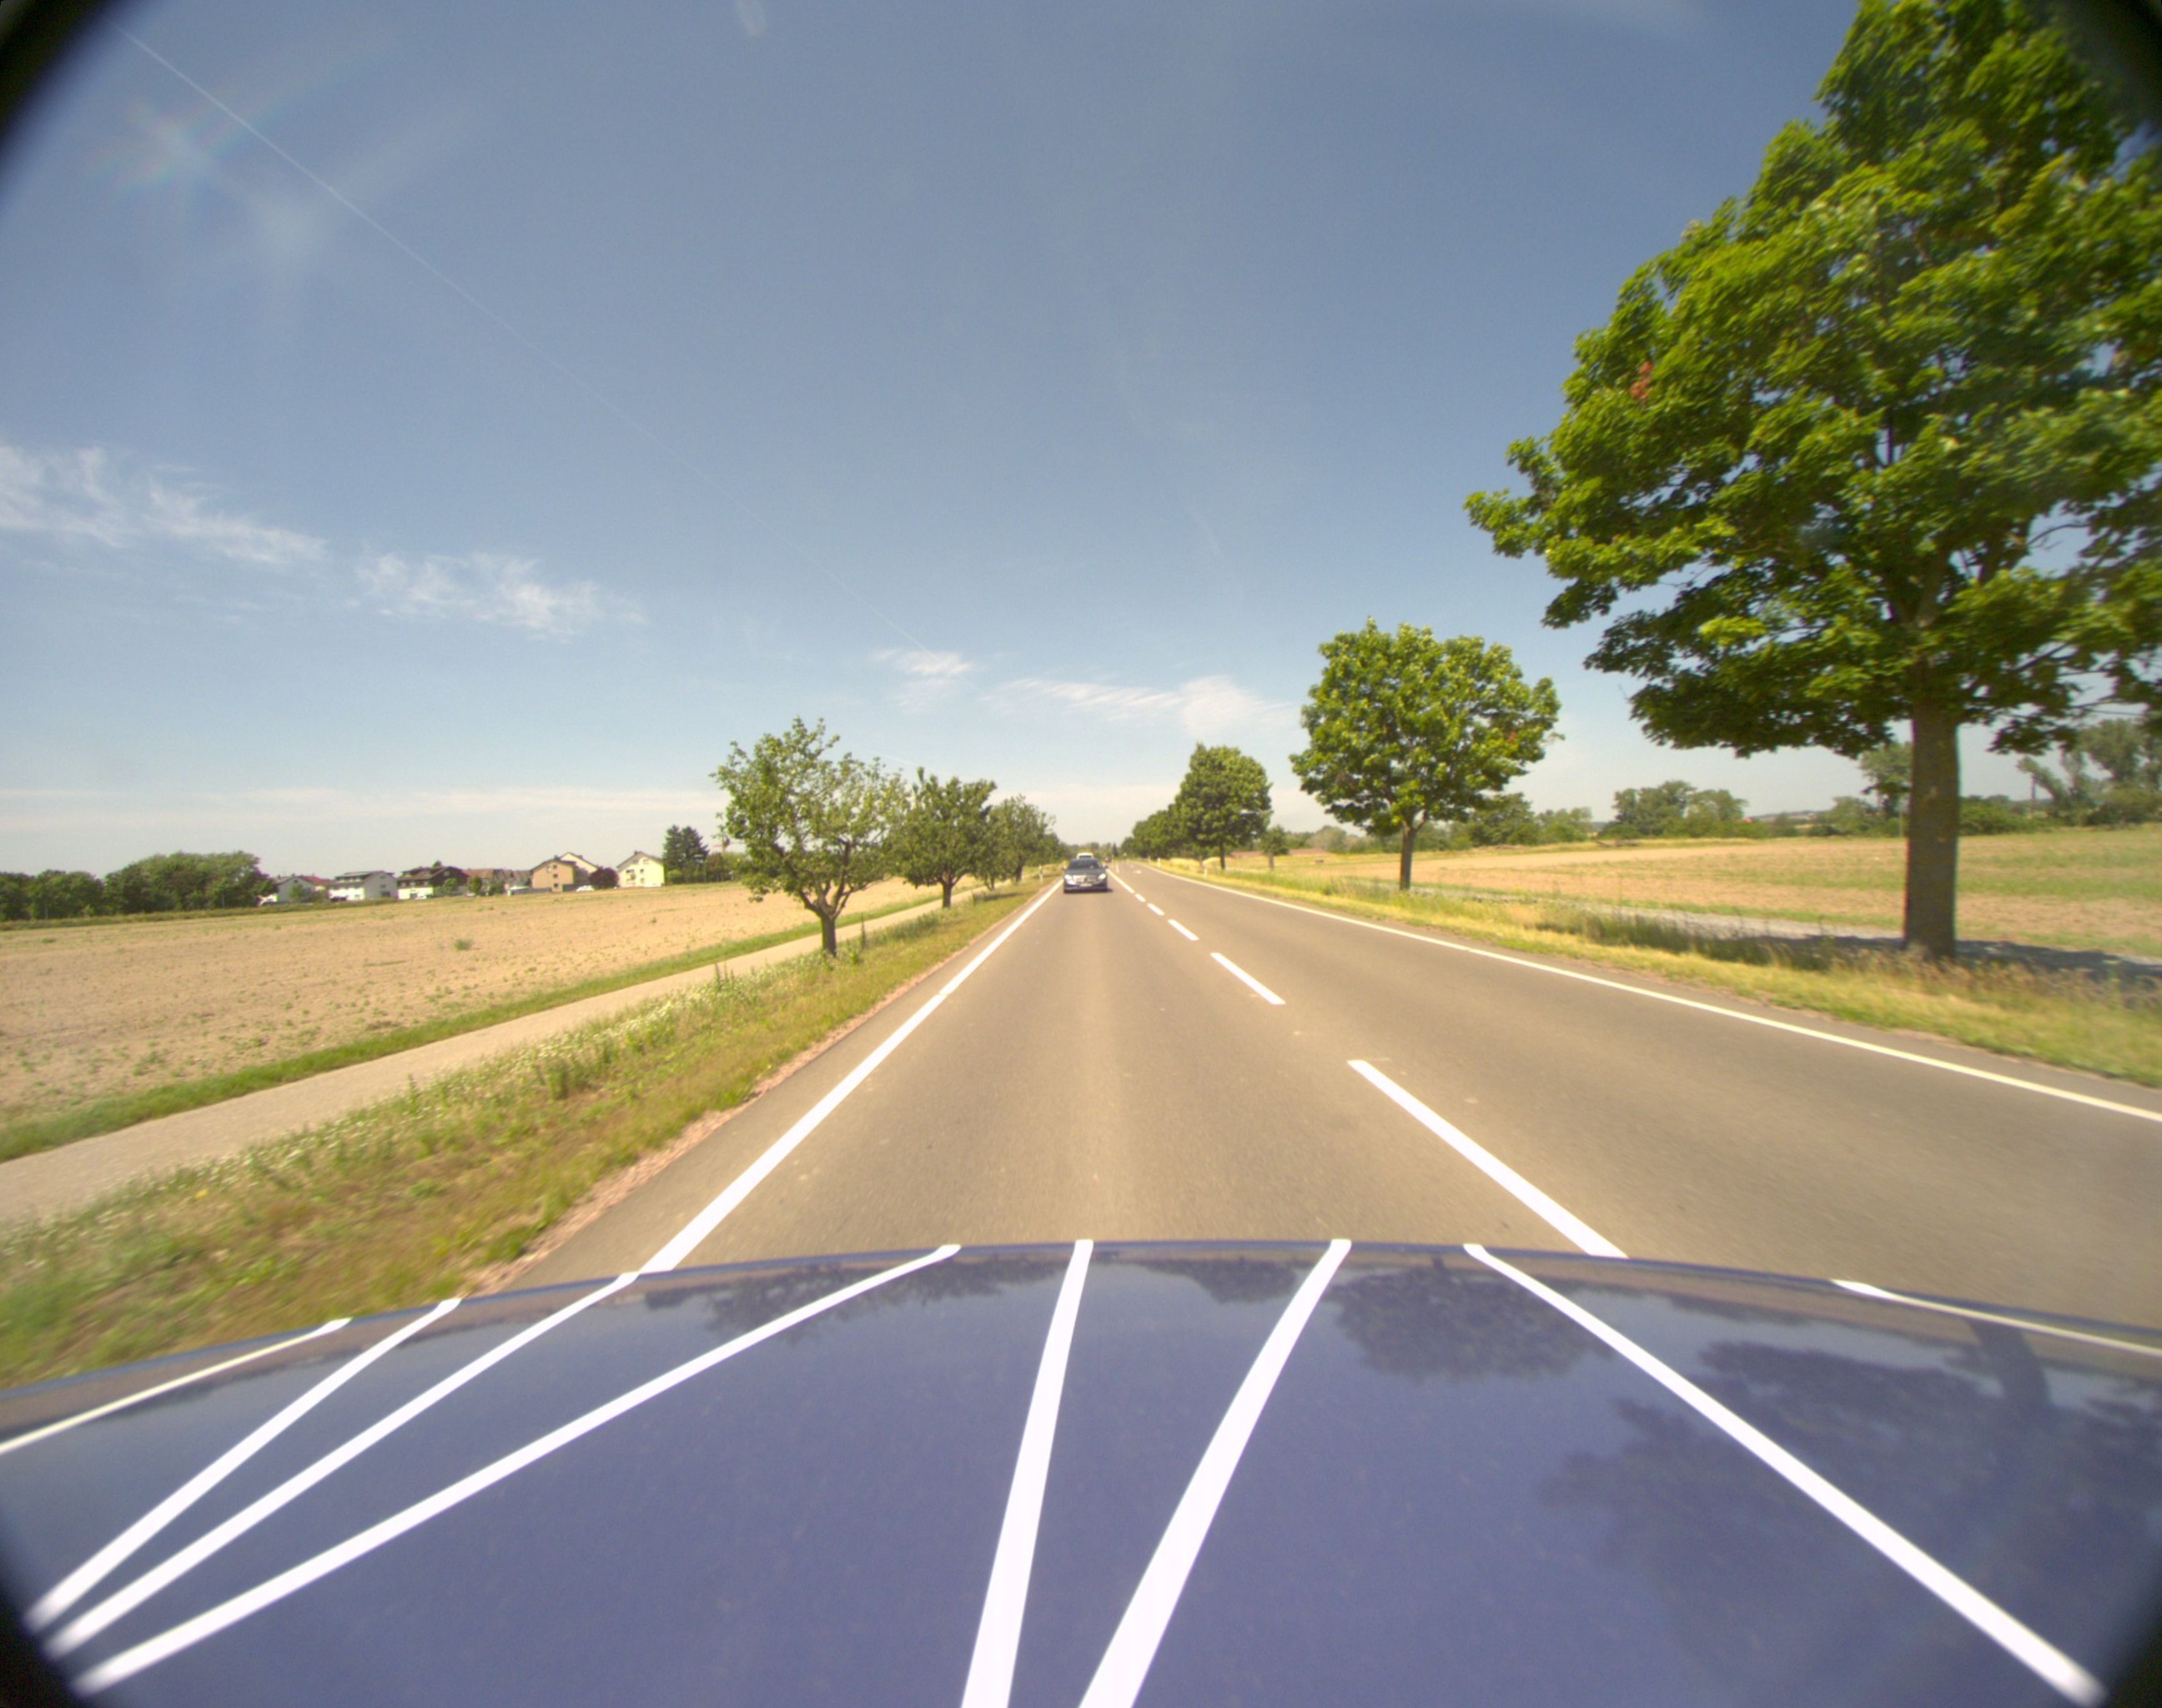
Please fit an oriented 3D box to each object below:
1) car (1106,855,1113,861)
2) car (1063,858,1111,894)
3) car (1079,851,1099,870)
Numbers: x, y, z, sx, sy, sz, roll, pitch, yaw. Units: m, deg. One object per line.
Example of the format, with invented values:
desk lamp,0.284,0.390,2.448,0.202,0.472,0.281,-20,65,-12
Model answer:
car,7.665,1.034,204.542,1.998,1.543,4.317,-3,0,2
car,0.281,0.919,33.336,1.953,1.390,4.000,-1,0,0
car,0.853,0.697,81.950,1.998,1.907,4.206,-3,0,1
